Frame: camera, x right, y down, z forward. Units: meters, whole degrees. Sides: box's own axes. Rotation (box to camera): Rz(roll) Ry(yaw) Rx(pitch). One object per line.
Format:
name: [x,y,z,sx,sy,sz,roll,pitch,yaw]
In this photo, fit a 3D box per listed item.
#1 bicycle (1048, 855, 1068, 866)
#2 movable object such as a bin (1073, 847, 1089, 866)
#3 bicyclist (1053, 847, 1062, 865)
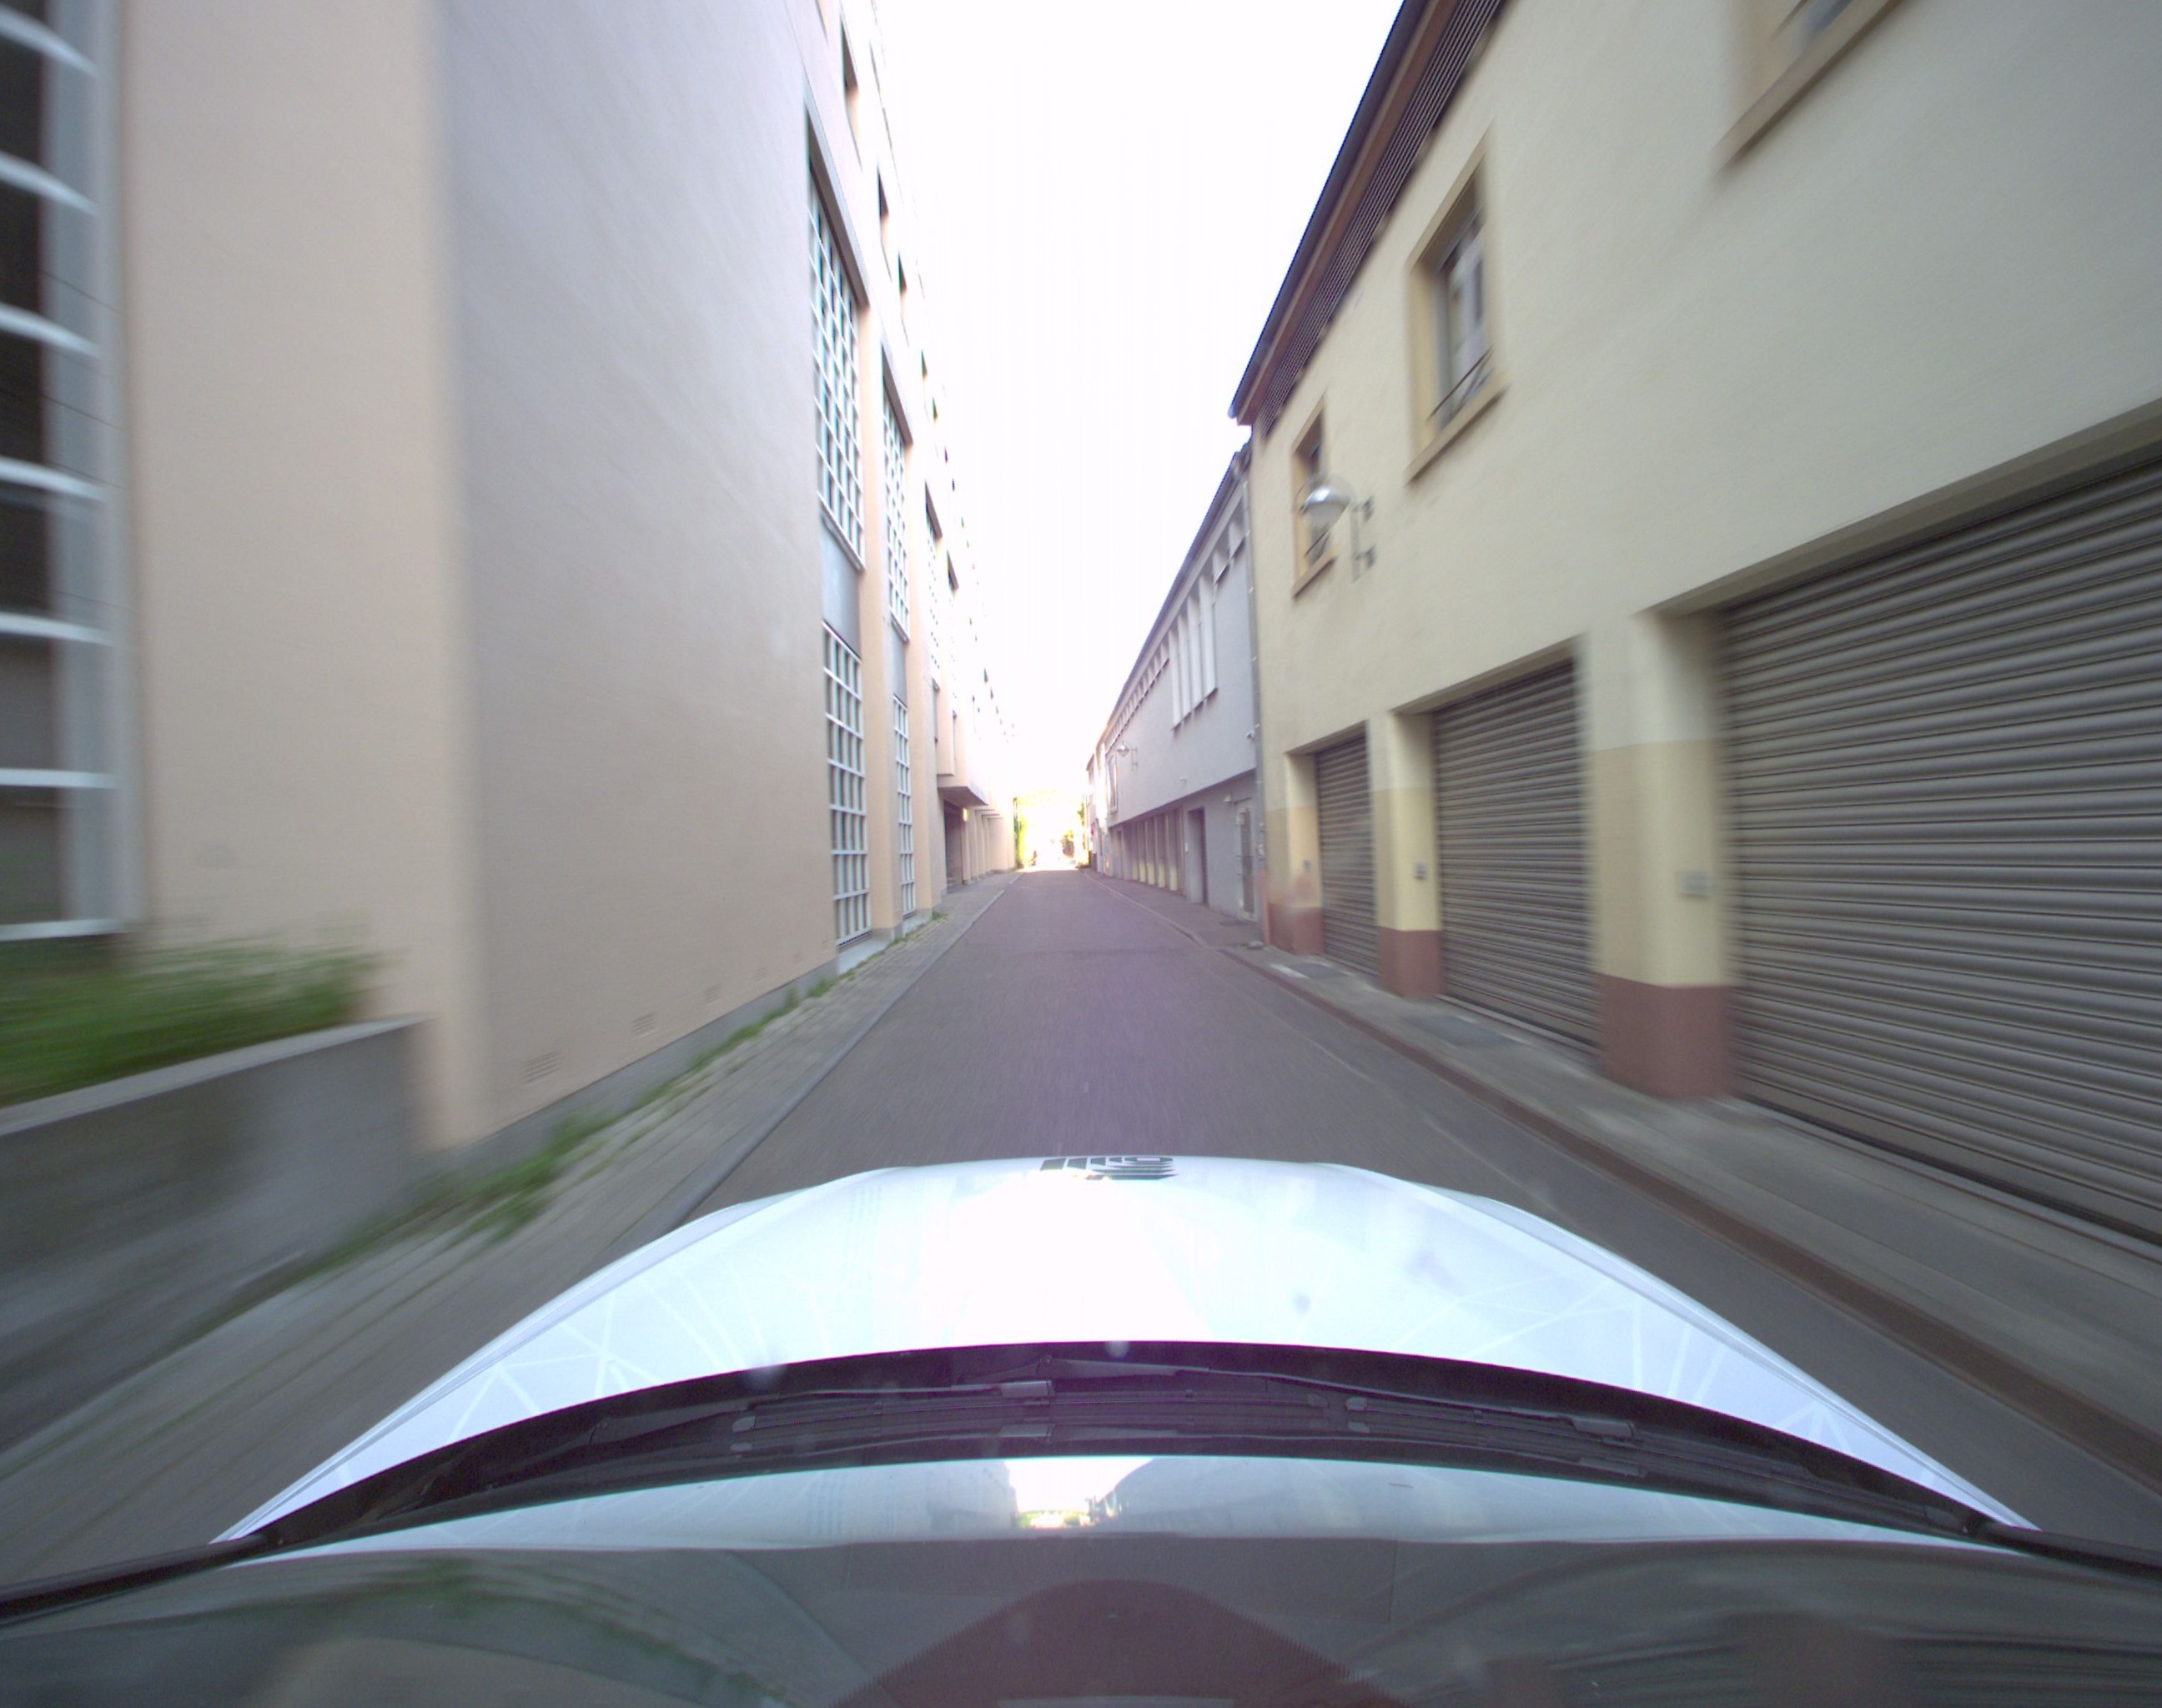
bicycle: [-2.335,0.677,82.369,1.983,1.112,0.734,-1,0,-8]
movable object such as a bin: [-0.004,0.208,61.776,0.937,1.366,1.338,-5,0,-9]
bicyclist: [-2.388,0.181,82.368,0.879,1.785,0.734,-1,0,-8]
